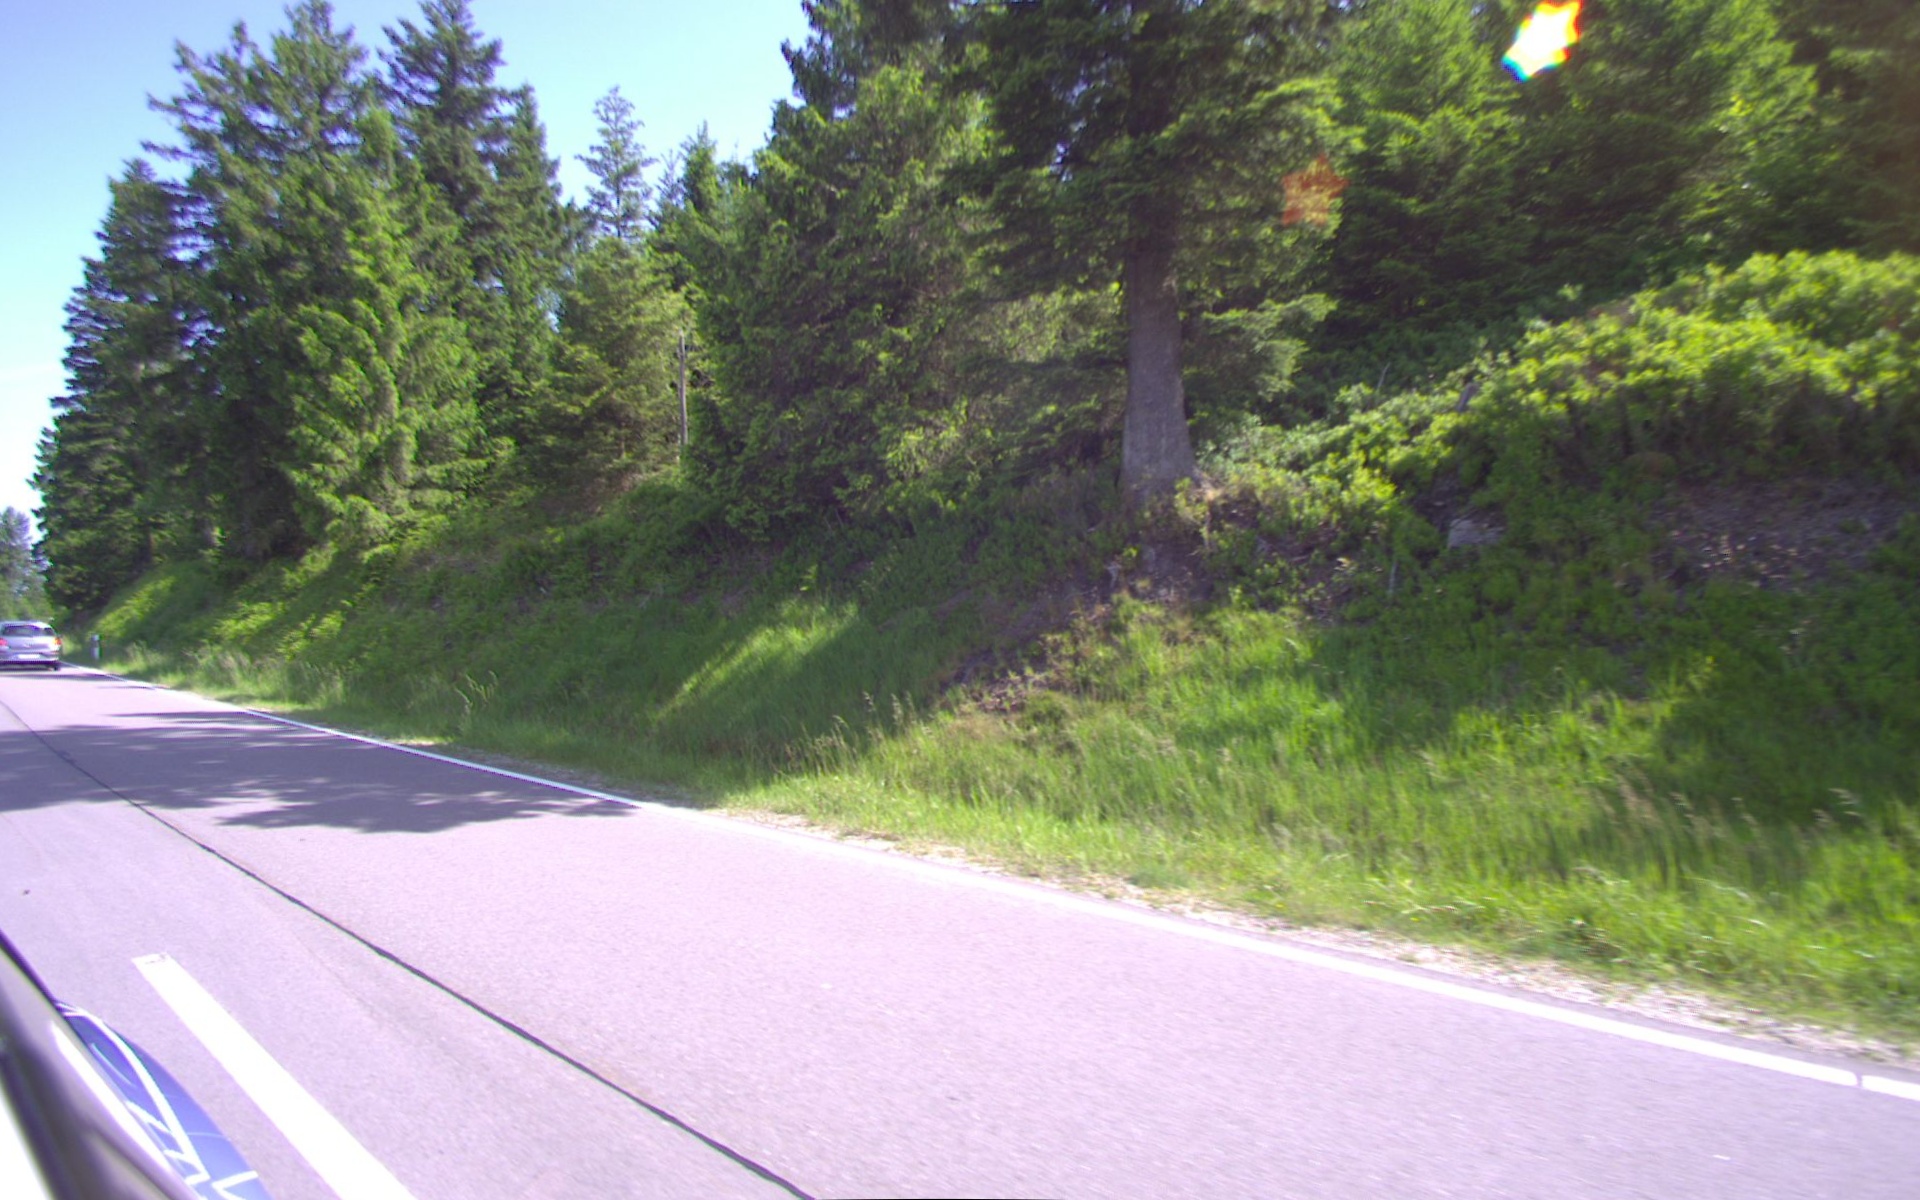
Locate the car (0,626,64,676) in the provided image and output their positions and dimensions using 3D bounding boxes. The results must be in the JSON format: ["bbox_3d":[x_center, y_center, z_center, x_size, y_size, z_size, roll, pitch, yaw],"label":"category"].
[{"bbox_3d":[-28.043,1.482,30.141,3.262,1.425,1.666,-2,-3,43],"label":"car"}]
